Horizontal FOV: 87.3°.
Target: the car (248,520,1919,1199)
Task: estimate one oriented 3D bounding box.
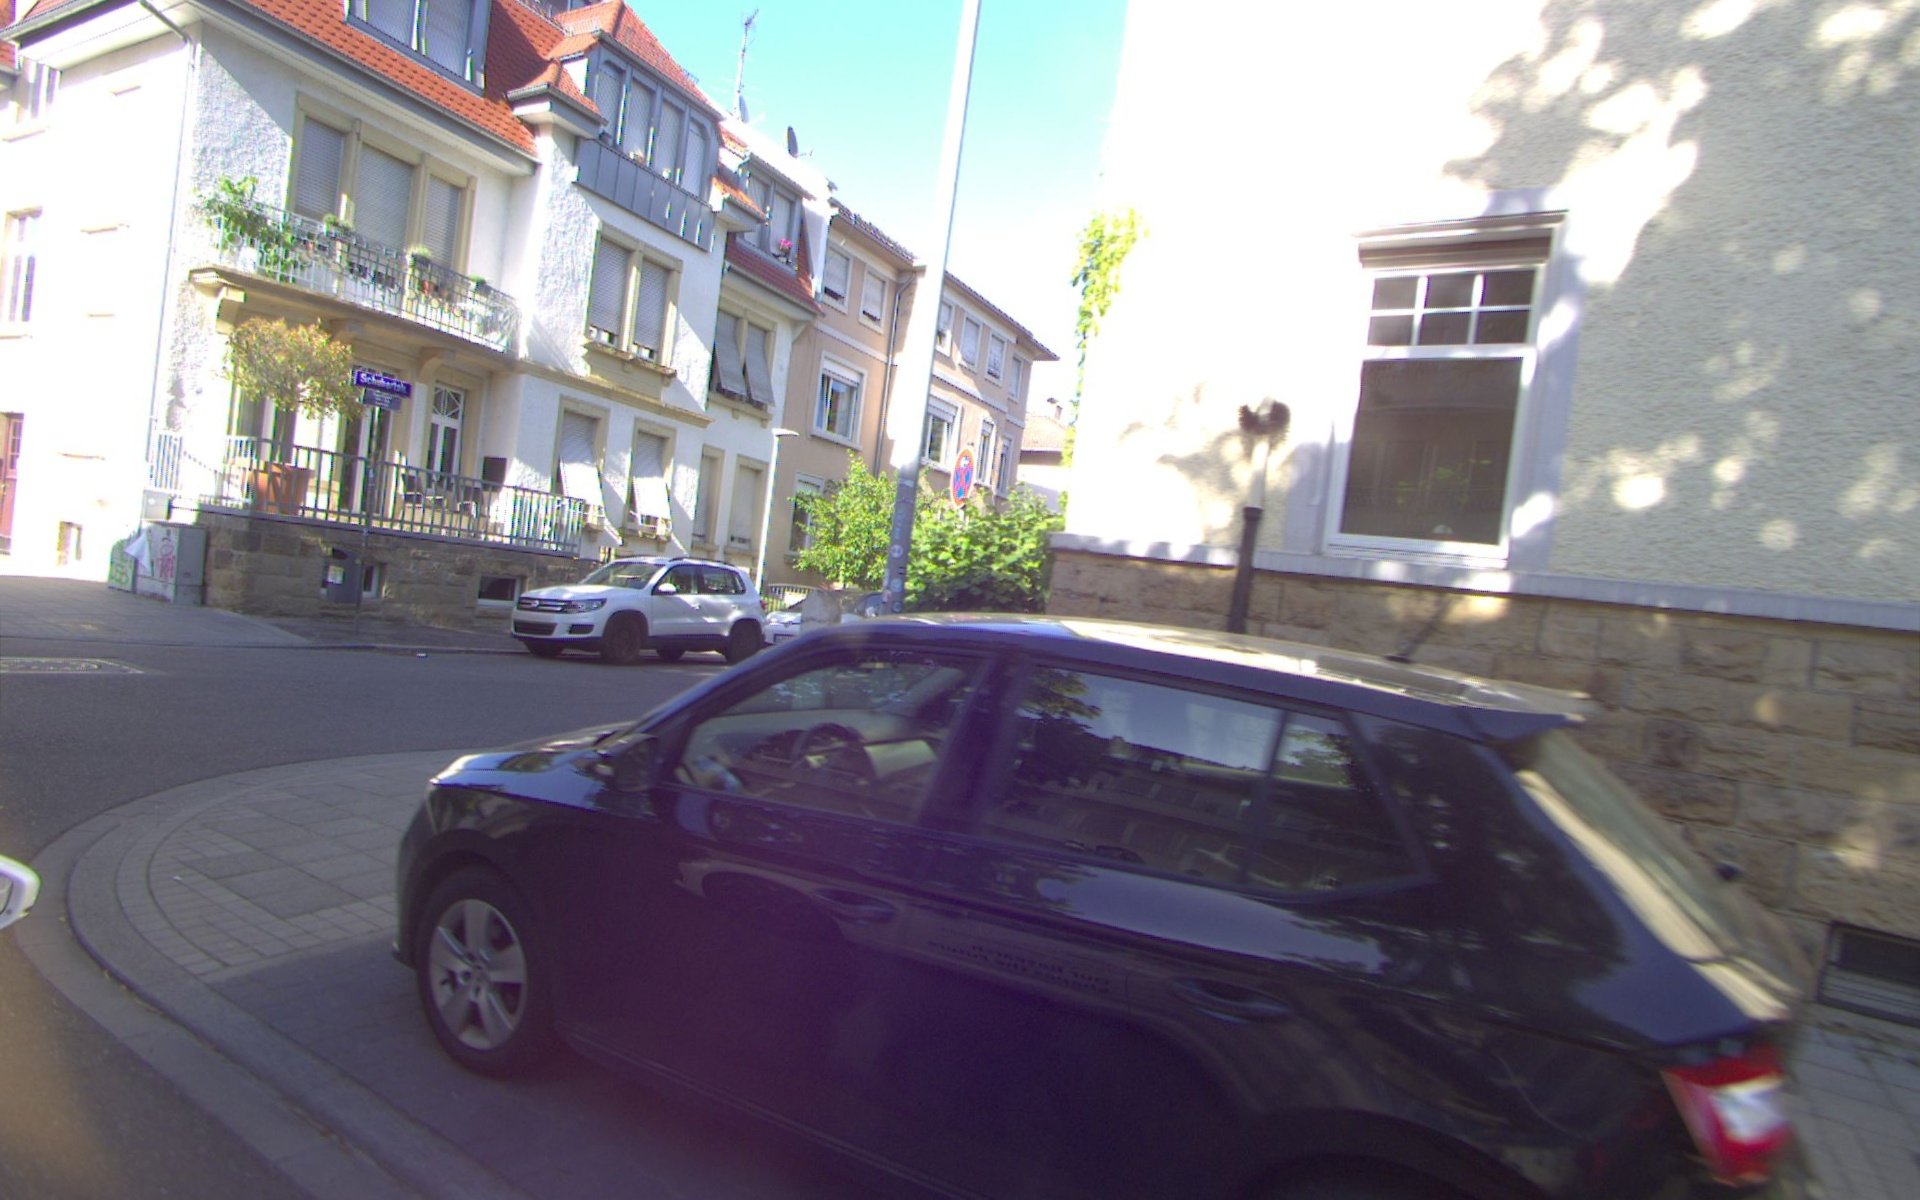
[{"bbox_3d":[-0.119,0.728,3.006,3.933,1.540,1.664,6,1,29],"label":"car"}]

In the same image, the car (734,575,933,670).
[{"bbox_3d":[-2.412,0.503,20.211,1.965,1.569,3.995,5,-1,27],"label":"car"}]

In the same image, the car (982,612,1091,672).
[{"bbox_3d":[2.244,1.227,28.742,1.776,1.468,3.391,5,-1,28],"label":"car"}]

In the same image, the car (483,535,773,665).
[{"bbox_3d":[-4.897,0.085,15.415,1.761,1.610,3.994,5,-1,28],"label":"car"}]
